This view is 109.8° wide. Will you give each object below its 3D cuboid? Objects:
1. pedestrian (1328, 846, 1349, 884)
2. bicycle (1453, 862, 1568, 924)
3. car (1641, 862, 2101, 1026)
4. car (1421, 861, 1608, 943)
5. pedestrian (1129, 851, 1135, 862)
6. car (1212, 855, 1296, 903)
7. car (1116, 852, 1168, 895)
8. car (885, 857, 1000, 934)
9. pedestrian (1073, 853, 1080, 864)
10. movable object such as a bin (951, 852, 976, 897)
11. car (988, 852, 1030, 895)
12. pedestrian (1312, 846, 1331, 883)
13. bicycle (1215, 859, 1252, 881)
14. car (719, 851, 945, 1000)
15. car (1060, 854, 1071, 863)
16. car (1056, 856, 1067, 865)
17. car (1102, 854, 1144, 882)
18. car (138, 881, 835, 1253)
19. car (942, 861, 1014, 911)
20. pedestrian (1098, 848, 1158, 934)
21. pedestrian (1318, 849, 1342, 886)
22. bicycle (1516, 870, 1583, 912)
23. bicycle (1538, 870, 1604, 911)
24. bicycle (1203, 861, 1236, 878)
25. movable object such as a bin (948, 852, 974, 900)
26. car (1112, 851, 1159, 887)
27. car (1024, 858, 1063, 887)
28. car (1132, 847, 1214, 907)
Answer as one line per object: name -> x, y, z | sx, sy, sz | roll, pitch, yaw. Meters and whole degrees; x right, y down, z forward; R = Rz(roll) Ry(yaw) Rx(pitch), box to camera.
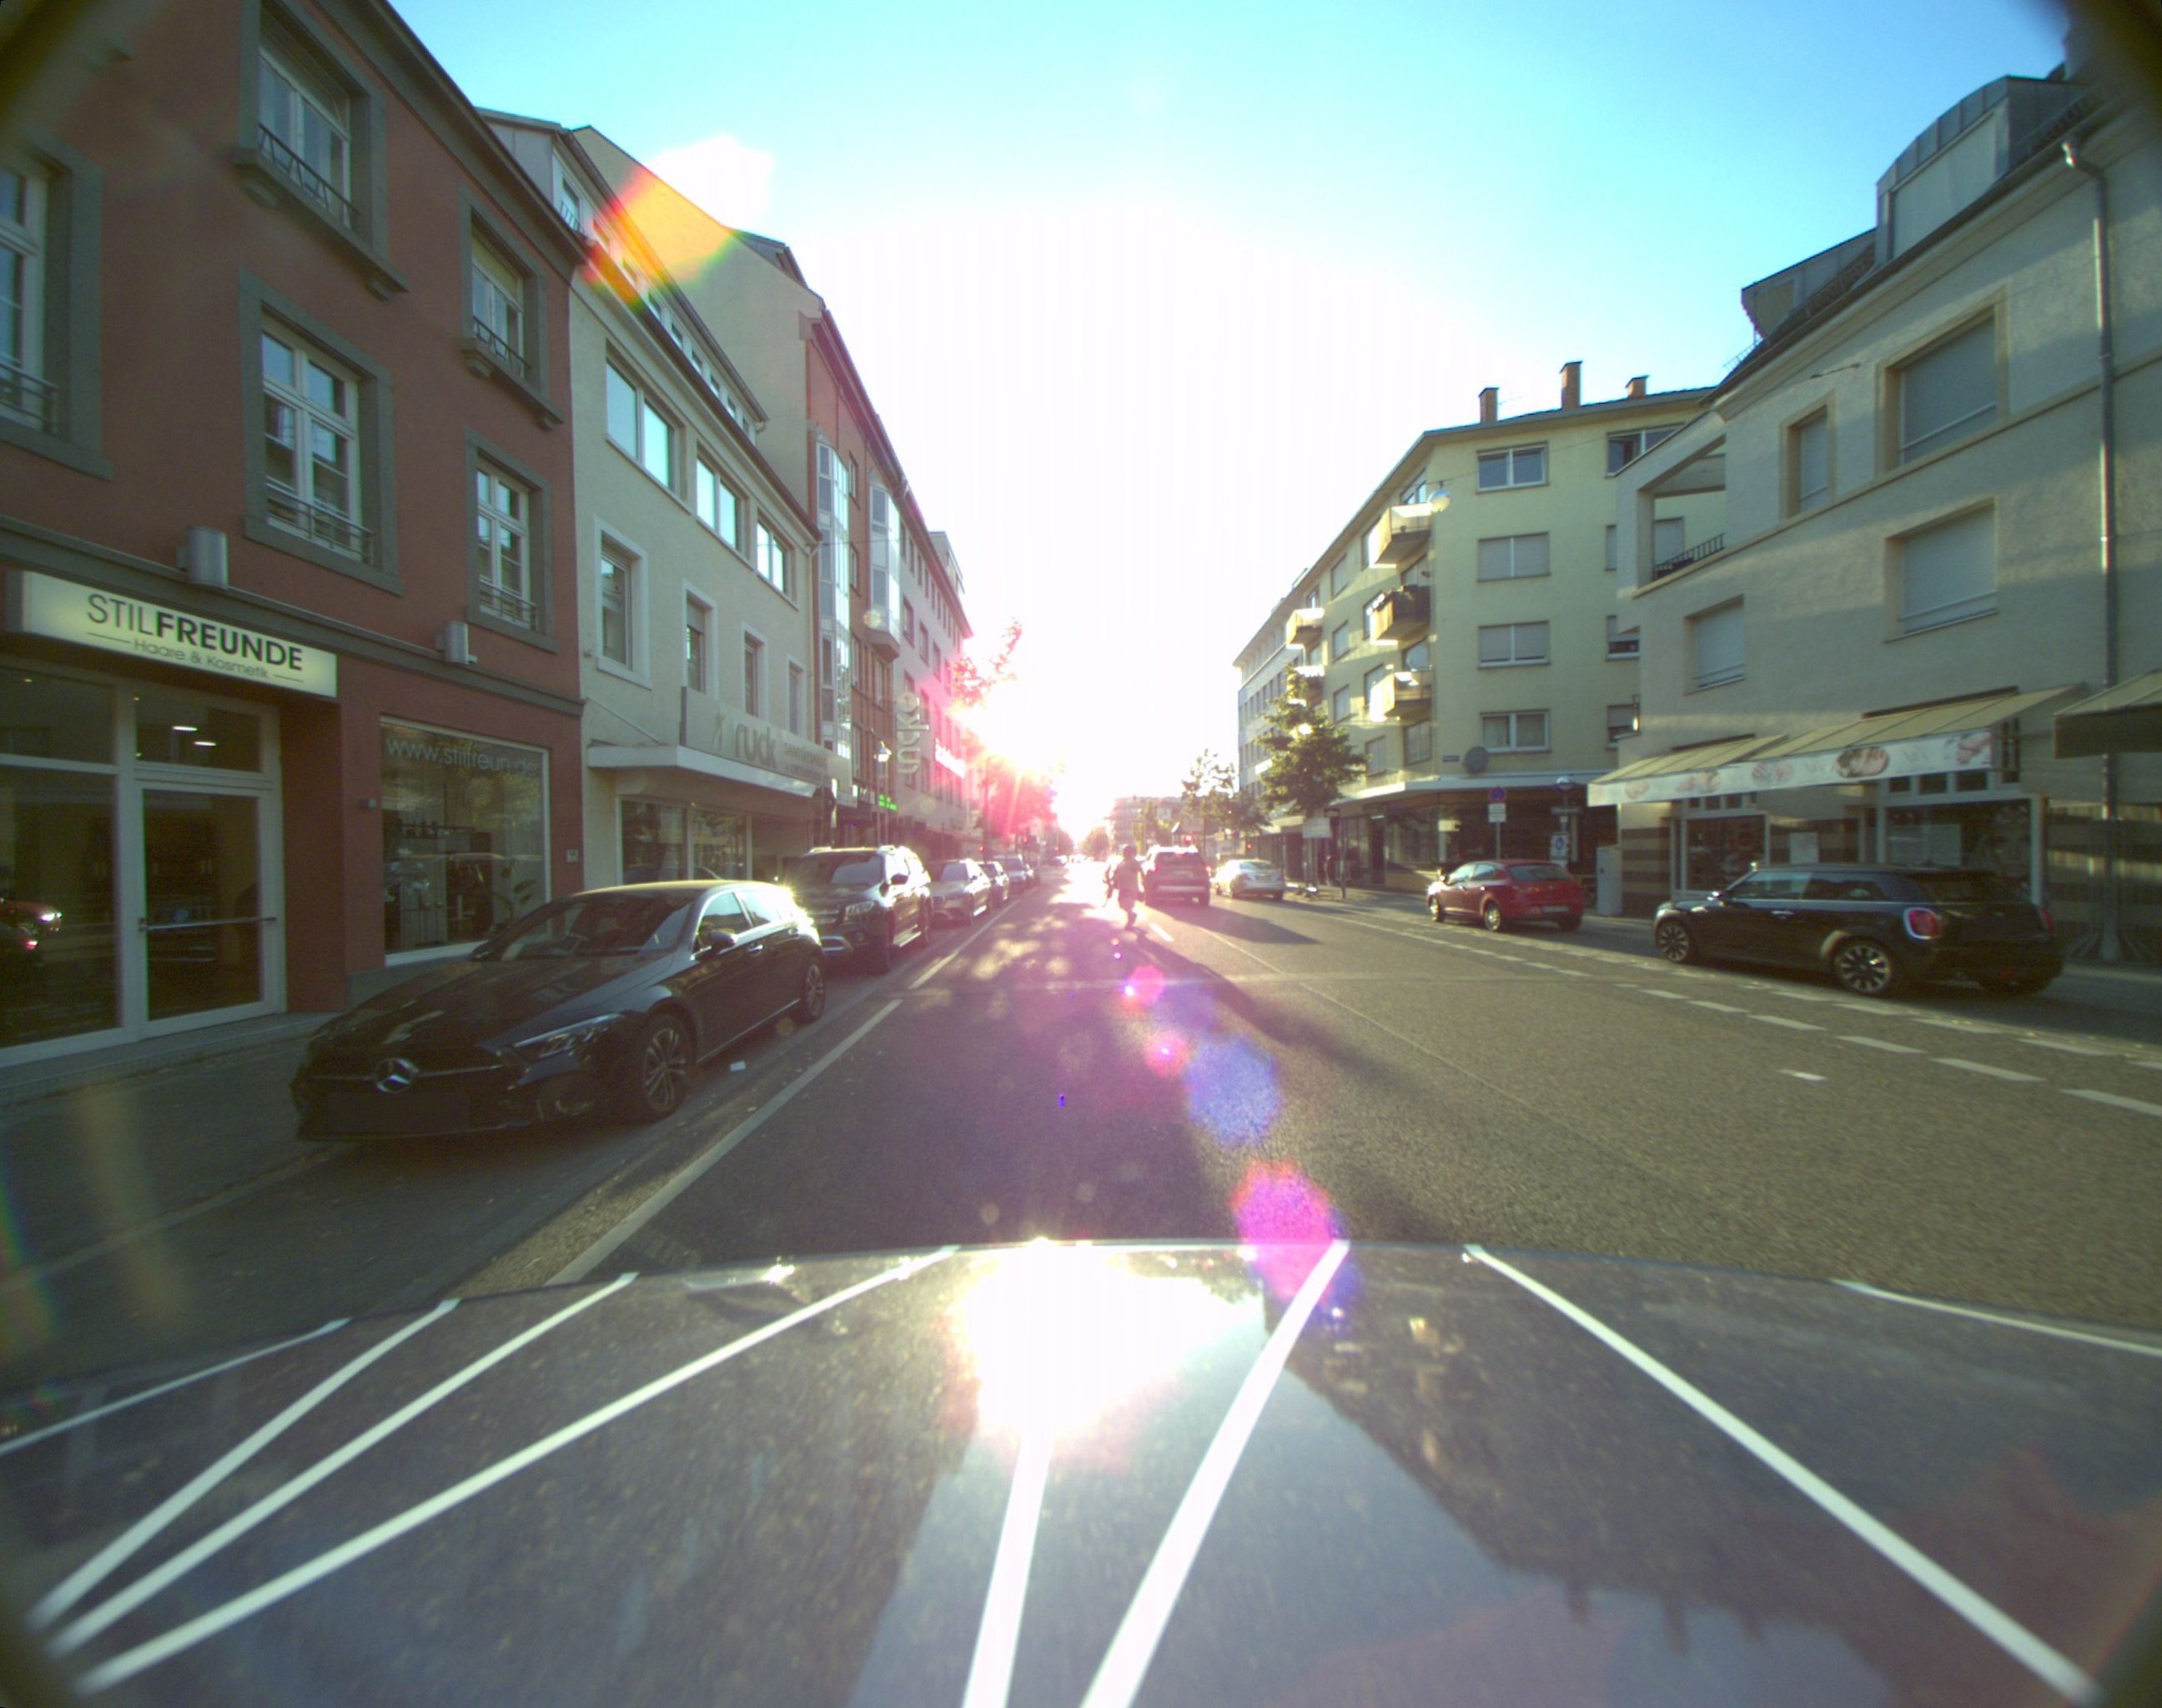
pedestrian -> 12.412, 0.507, 36.631 | 0.742, 1.808, 0.813 | 0, 0, 2
bicycle -> 10.506, 0.907, 18.800 | 0.961, 1.293, 3.126 | -2, 1, -2
car -> 9.082, 0.900, 9.267 | 1.715, 1.445, 3.724 | -2, 1, 0
car -> 8.911, 0.907, 16.034 | 1.665, 1.394, 3.883 | -2, 1, -1
pedestrian -> 8.241, 0.407, 122.693 | 0.842, 1.736, 0.700 | -2, 1, -1
car -> 6.282, 0.855, 28.059 | 1.999, 1.503, 4.508 | 2, 1, 0
car -> 2.387, 0.731, 30.460 | 1.728, 1.540, 4.464 | 0, 1, 0
car -> -3.288, 0.924, 19.076 | 1.816, 1.518, 4.993 | -2, 1, 1
pedestrian -> -0.735, 0.630, 117.040 | 0.905, 1.667, 0.780 | -2, 1, 11
movable object such as a bin -> -4.716, 0.813, 30.634 | 0.837, 1.764, 1.205 | -2, 1, -4
car -> -3.203, 0.833, 34.311 | 1.659, 1.768, 4.010 | -2, 0, -3
pedestrian -> 11.958, 0.524, 37.740 | 0.769, 1.836, 0.744 | -1, -1, 9
bicycle -> 8.996, 0.949, 44.863 | 2.014, 1.212, 0.491 | -2, 1, 0
car -> -3.537, 0.879, 11.962 | 1.888, 1.744, 5.057 | -2, 1, -1
car -> -3.291, 0.896, 160.327 | 1.998, 1.638, 4.509 | -2, 1, 0
car -> -3.748, 1.125, 142.615 | 1.999, 1.538, 4.508 | -2, 1, -2
car -> 2.347, 0.794, 43.632 | 1.963, 1.538, 4.509 | -1, -1, -3
car -> -3.466, 1.075, 5.702 | 1.766, 1.475, 4.306 | -2, 1, 0
car -> -3.262, 0.964, 24.831 | 1.757, 1.412, 4.509 | -2, 0, -1
pedestrian -> 0.951, 0.722, 15.549 | 0.907, 1.667, 0.991 | -2, 2, -18
pedestrian -> 11.588, 0.624, 35.356 | 0.768, 1.666, 0.744 | -1, 1, 42
bicycle -> 12.690, 0.983, 20.669 | 0.491, 0.986, 2.015 | -2, 1, -2
bicycle -> 13.243, 0.961, 20.615 | 0.491, 0.986, 2.016 | -2, 1, 1
bicycle -> 8.808, 1.008, 48.377 | 2.015, 0.986, 0.491 | -2, 1, -4
movable object such as a bin -> -4.619, 0.826, 29.337 | 0.837, 1.764, 1.352 | -2, 1, -4
car -> 2.594, 0.688, 37.125 | 1.951, 1.635, 4.614 | 0, 1, 0
car -> -1.955, 0.938, 40.318 | 1.942, 1.368, 4.181 | -2, 0, -2
car -> 2.701, 0.606, 23.284 | 1.945, 1.635, 4.738 | 0, 1, 0
